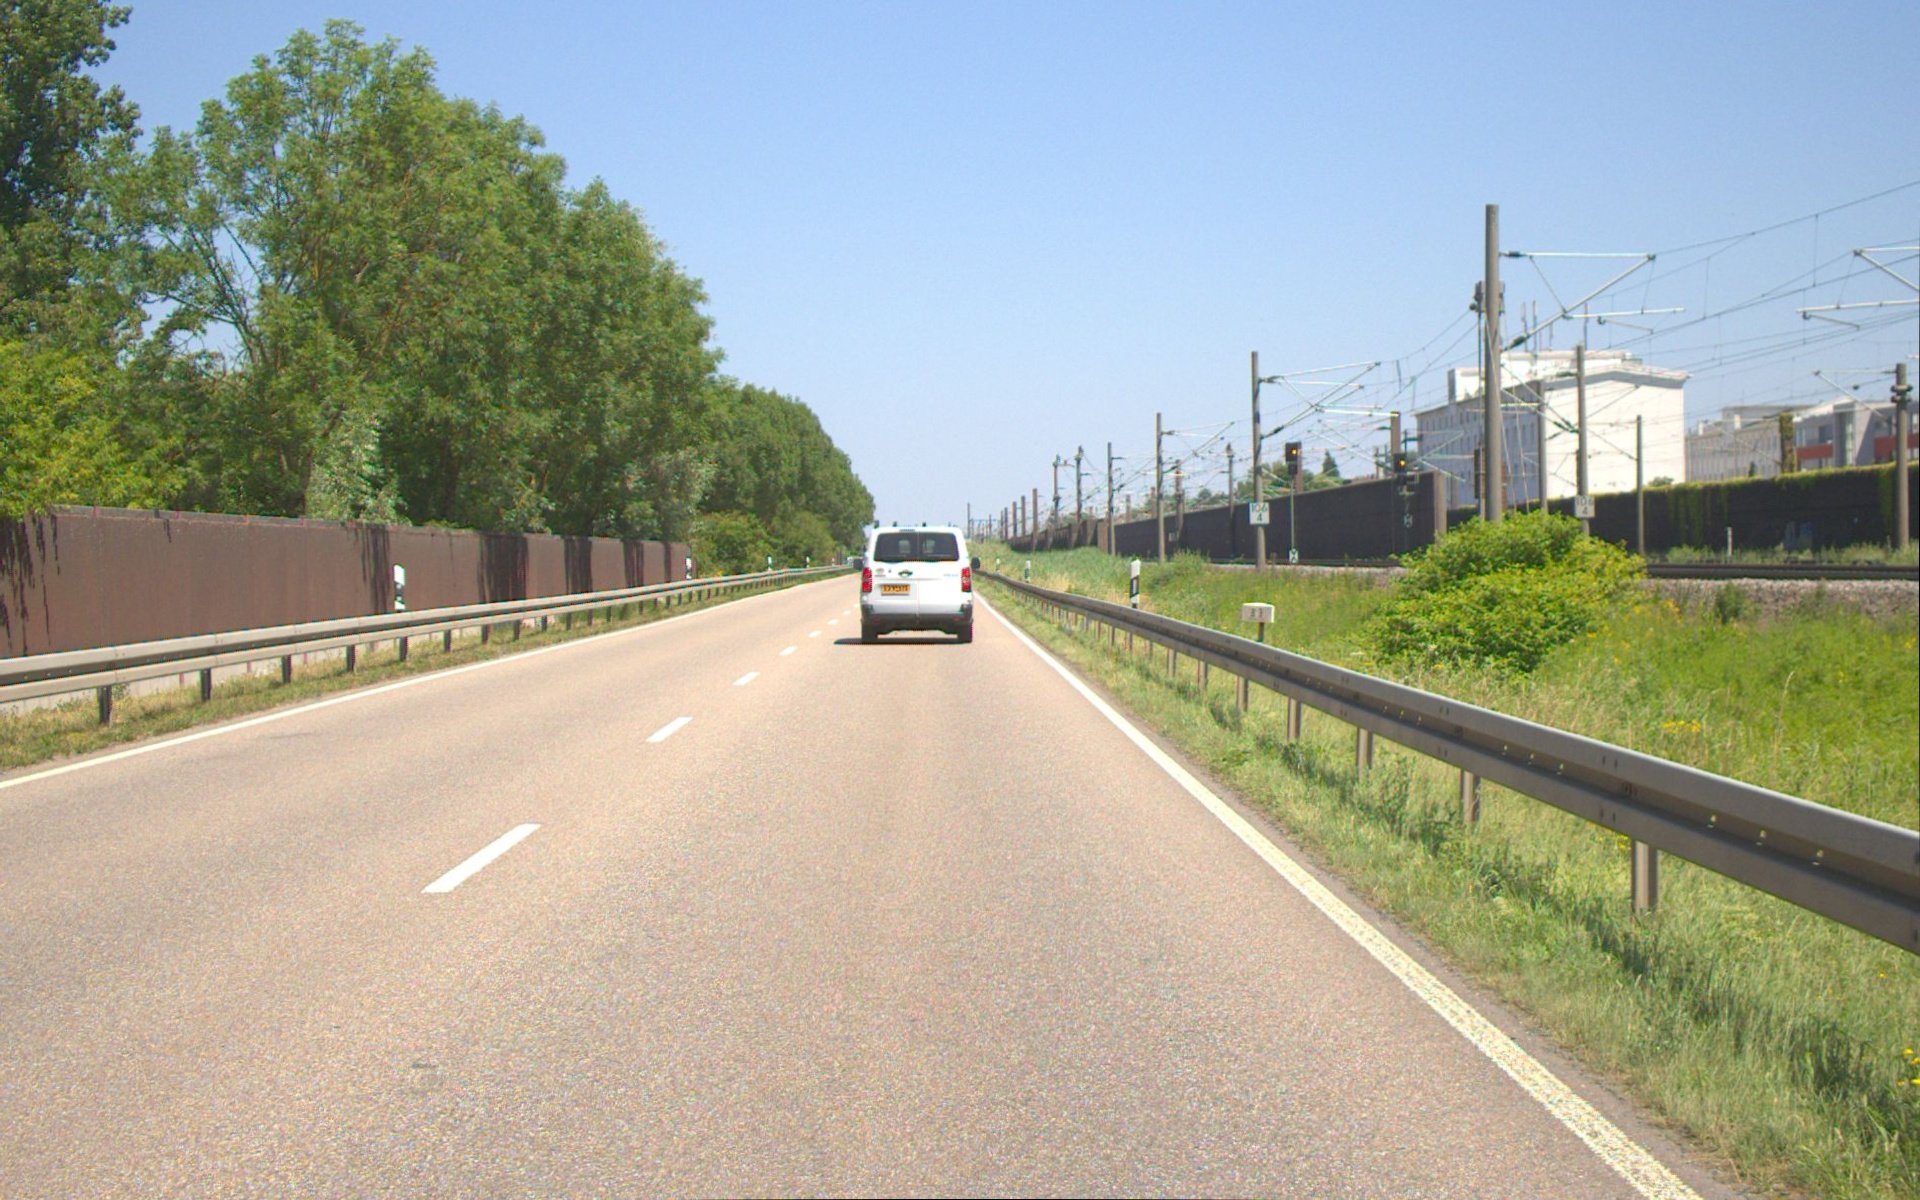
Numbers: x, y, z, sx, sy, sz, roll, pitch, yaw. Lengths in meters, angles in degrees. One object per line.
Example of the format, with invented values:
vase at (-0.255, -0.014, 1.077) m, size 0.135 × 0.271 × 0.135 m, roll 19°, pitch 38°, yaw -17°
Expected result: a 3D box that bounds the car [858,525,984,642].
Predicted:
car at (-0.648, -0.295, 57.609) m, size 1.993 × 1.843 × 4.000 m, roll 1°, pitch 1°, yaw 0°
